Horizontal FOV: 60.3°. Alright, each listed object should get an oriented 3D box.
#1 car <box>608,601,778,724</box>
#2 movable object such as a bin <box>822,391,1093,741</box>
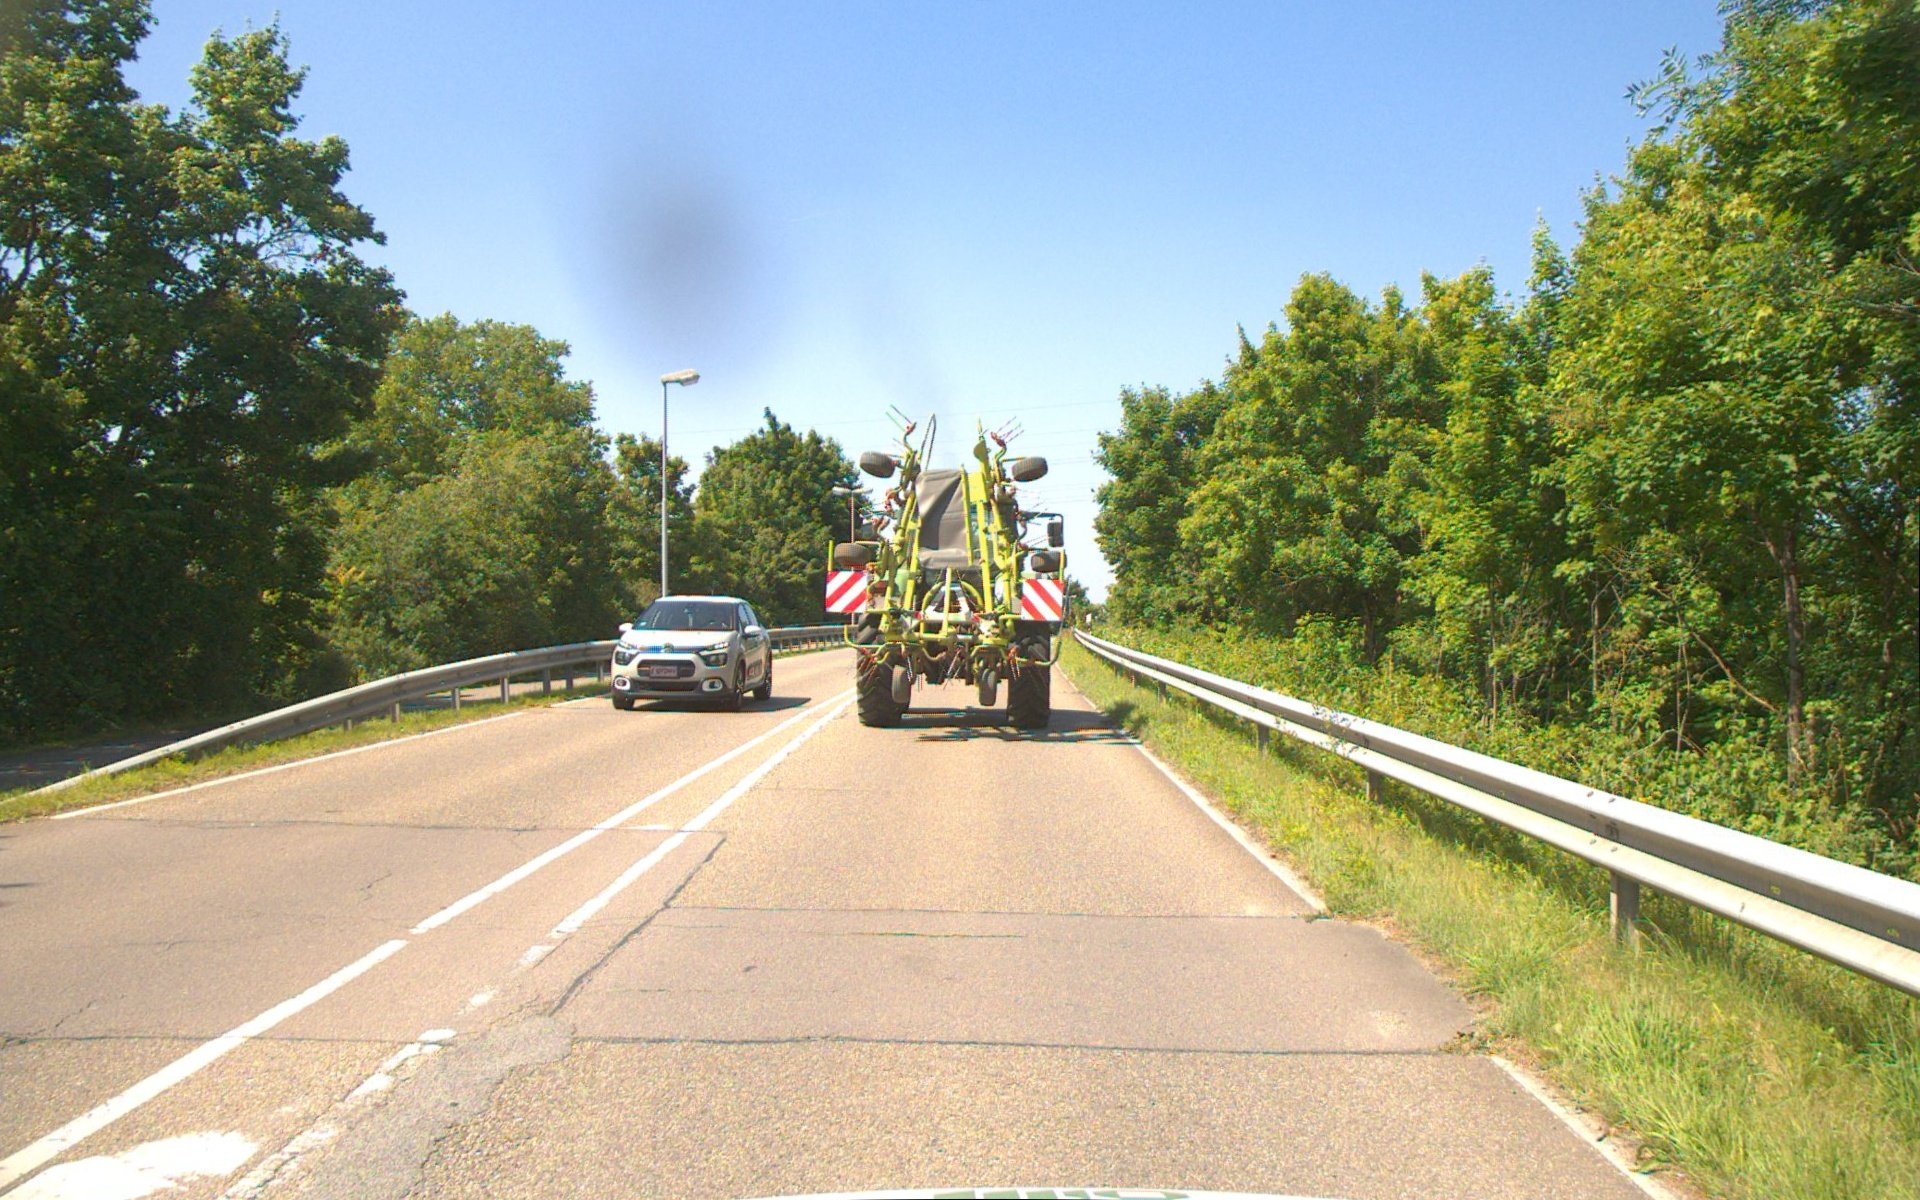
[{"bbox_3d":[-3.593,0.791,22.852,1.704,1.481,3.888,2,0,0],"label":"car"},{"bbox_3d":[-0.066,-0.333,19.489,2.699,3.504,5.668,0,0,-1],"label":"movable object such as a bin"}]
